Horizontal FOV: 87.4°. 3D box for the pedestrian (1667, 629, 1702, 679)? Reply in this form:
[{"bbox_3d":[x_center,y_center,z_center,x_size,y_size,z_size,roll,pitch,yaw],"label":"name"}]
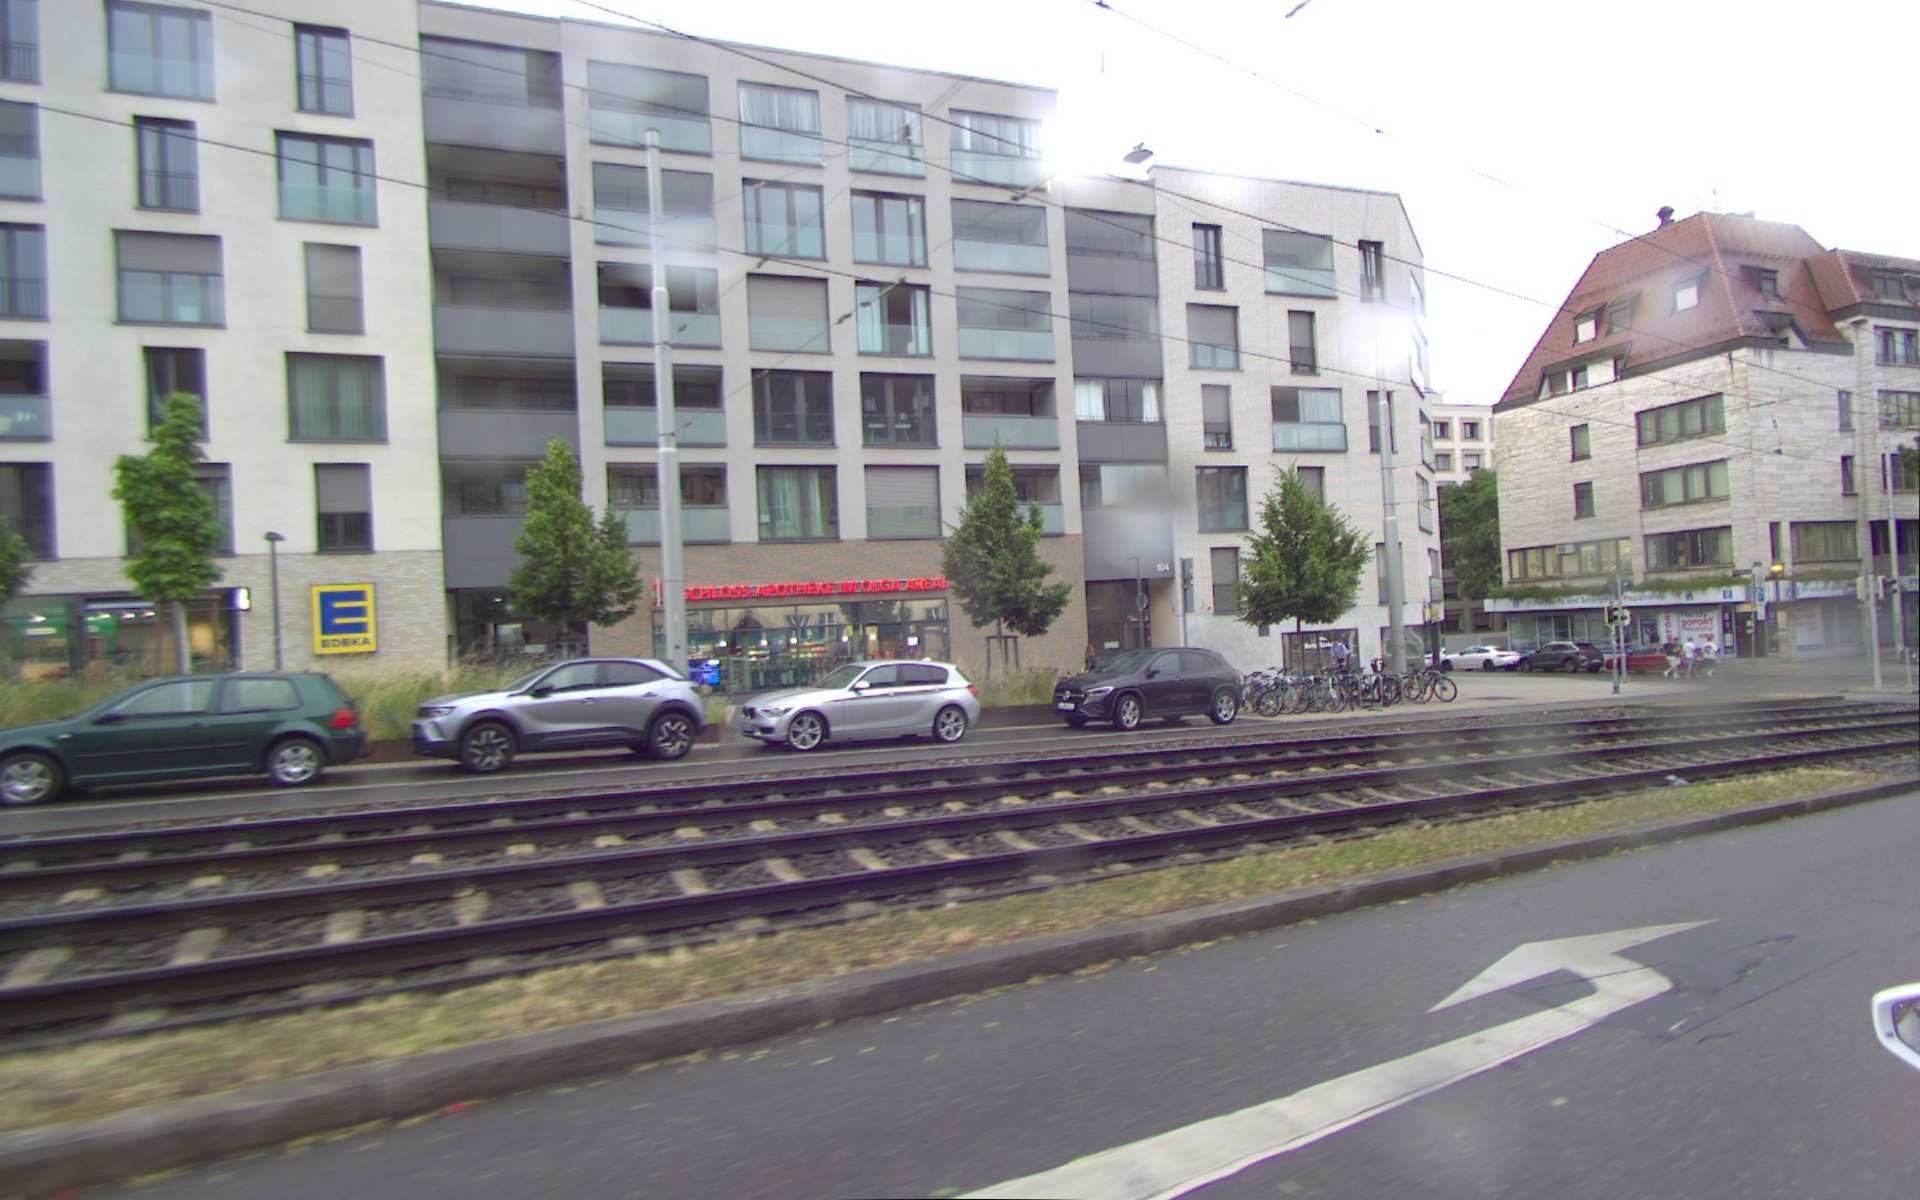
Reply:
[{"bbox_3d":[30.299,2.263,42.013,0.757,2.040,0.936,1,-3,-34],"label":"pedestrian"}]

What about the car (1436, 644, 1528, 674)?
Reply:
[{"bbox_3d":[29.197,3.270,56.334,1.880,1.589,4.454,0,-3,-21],"label":"car"}]

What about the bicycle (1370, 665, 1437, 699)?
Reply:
[{"bbox_3d":[12.419,2.275,28.184,0.564,0.877,1.636,1,-2,-39],"label":"bicycle"}]

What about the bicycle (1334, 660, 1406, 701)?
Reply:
[{"bbox_3d":[11.475,2.237,28.151,0.565,1.078,1.781,1,-2,-41],"label":"bicycle"}]

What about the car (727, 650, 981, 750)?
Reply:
[{"bbox_3d":[-1.786,1.663,17.399,4.041,1.523,1.763,2,-5,-34],"label":"car"}]

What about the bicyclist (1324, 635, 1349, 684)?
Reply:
[{"bbox_3d":[12.596,1.985,33.613,0.695,1.594,0.458,1,-3,-35],"label":"bicyclist"}]

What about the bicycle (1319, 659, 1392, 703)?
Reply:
[{"bbox_3d":[10.677,2.176,27.167,1.776,1.123,0.453,-2,-2,41],"label":"bicycle"}]

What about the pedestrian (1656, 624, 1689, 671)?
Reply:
[{"bbox_3d":[31.109,2.063,43.856,0.757,2.040,0.936,1,-3,-34],"label":"pedestrian"}]

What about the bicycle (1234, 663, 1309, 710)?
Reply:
[{"bbox_3d":[7.639,2.104,24.681,0.454,1.078,1.781,1,-2,-40],"label":"bicycle"}]

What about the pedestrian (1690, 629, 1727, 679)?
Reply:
[{"bbox_3d":[30.638,2.206,41.113,0.756,2.040,0.937,1,-3,-30],"label":"pedestrian"}]

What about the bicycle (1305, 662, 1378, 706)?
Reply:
[{"bbox_3d":[10.060,2.195,26.523,0.454,1.078,1.779,1,-3,-44],"label":"bicycle"}]

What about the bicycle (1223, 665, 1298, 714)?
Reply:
[{"bbox_3d":[7.144,2.115,23.953,0.453,1.078,1.784,1,-2,-36],"label":"bicycle"}]

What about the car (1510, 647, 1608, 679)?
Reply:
[{"bbox_3d":[30.894,3.225,51.949,1.796,1.589,4.128,0,-3,-21],"label":"car"}]

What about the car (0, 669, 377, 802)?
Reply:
[{"bbox_3d":[-9.532,1.580,12.405,3.962,1.380,1.542,1,-3,-30],"label":"car"}]

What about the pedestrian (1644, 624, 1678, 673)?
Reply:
[{"bbox_3d":[29.999,2.080,42.999,0.757,2.040,0.936,1,-3,-34],"label":"pedestrian"}]

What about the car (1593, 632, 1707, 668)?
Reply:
[{"bbox_3d":[32.396,2.362,47.321,1.796,1.589,4.128,0,-3,-21],"label":"car"}]

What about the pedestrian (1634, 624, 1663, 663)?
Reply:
[{"bbox_3d":[35.716,2.241,52.090,0.816,1.957,0.900,-1,-3,-32],"label":"pedestrian"}]

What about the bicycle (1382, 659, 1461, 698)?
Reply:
[{"bbox_3d":[13.236,2.234,28.862,0.715,1.041,1.934,1,-2,-38],"label":"bicycle"}]

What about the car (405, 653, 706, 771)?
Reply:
[{"bbox_3d":[-5.938,1.582,14.900,3.880,1.523,1.763,2,-5,-34],"label":"car"}]

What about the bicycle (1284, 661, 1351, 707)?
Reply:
[{"bbox_3d":[9.222,2.155,25.970,0.479,1.086,1.763,1,-2,-27],"label":"bicycle"}]

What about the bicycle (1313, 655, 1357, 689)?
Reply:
[{"bbox_3d":[12.527,2.396,33.555,1.784,1.078,0.453,1,-2,-35],"label":"bicycle"}]

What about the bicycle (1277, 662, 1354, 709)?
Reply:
[{"bbox_3d":[8.775,2.101,24.869,0.454,1.078,1.779,1,-3,-44],"label":"bicycle"}]

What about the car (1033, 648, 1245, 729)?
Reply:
[{"bbox_3d":[3.793,1.828,21.071,4.192,1.522,1.902,2,-6,-34],"label":"car"}]
